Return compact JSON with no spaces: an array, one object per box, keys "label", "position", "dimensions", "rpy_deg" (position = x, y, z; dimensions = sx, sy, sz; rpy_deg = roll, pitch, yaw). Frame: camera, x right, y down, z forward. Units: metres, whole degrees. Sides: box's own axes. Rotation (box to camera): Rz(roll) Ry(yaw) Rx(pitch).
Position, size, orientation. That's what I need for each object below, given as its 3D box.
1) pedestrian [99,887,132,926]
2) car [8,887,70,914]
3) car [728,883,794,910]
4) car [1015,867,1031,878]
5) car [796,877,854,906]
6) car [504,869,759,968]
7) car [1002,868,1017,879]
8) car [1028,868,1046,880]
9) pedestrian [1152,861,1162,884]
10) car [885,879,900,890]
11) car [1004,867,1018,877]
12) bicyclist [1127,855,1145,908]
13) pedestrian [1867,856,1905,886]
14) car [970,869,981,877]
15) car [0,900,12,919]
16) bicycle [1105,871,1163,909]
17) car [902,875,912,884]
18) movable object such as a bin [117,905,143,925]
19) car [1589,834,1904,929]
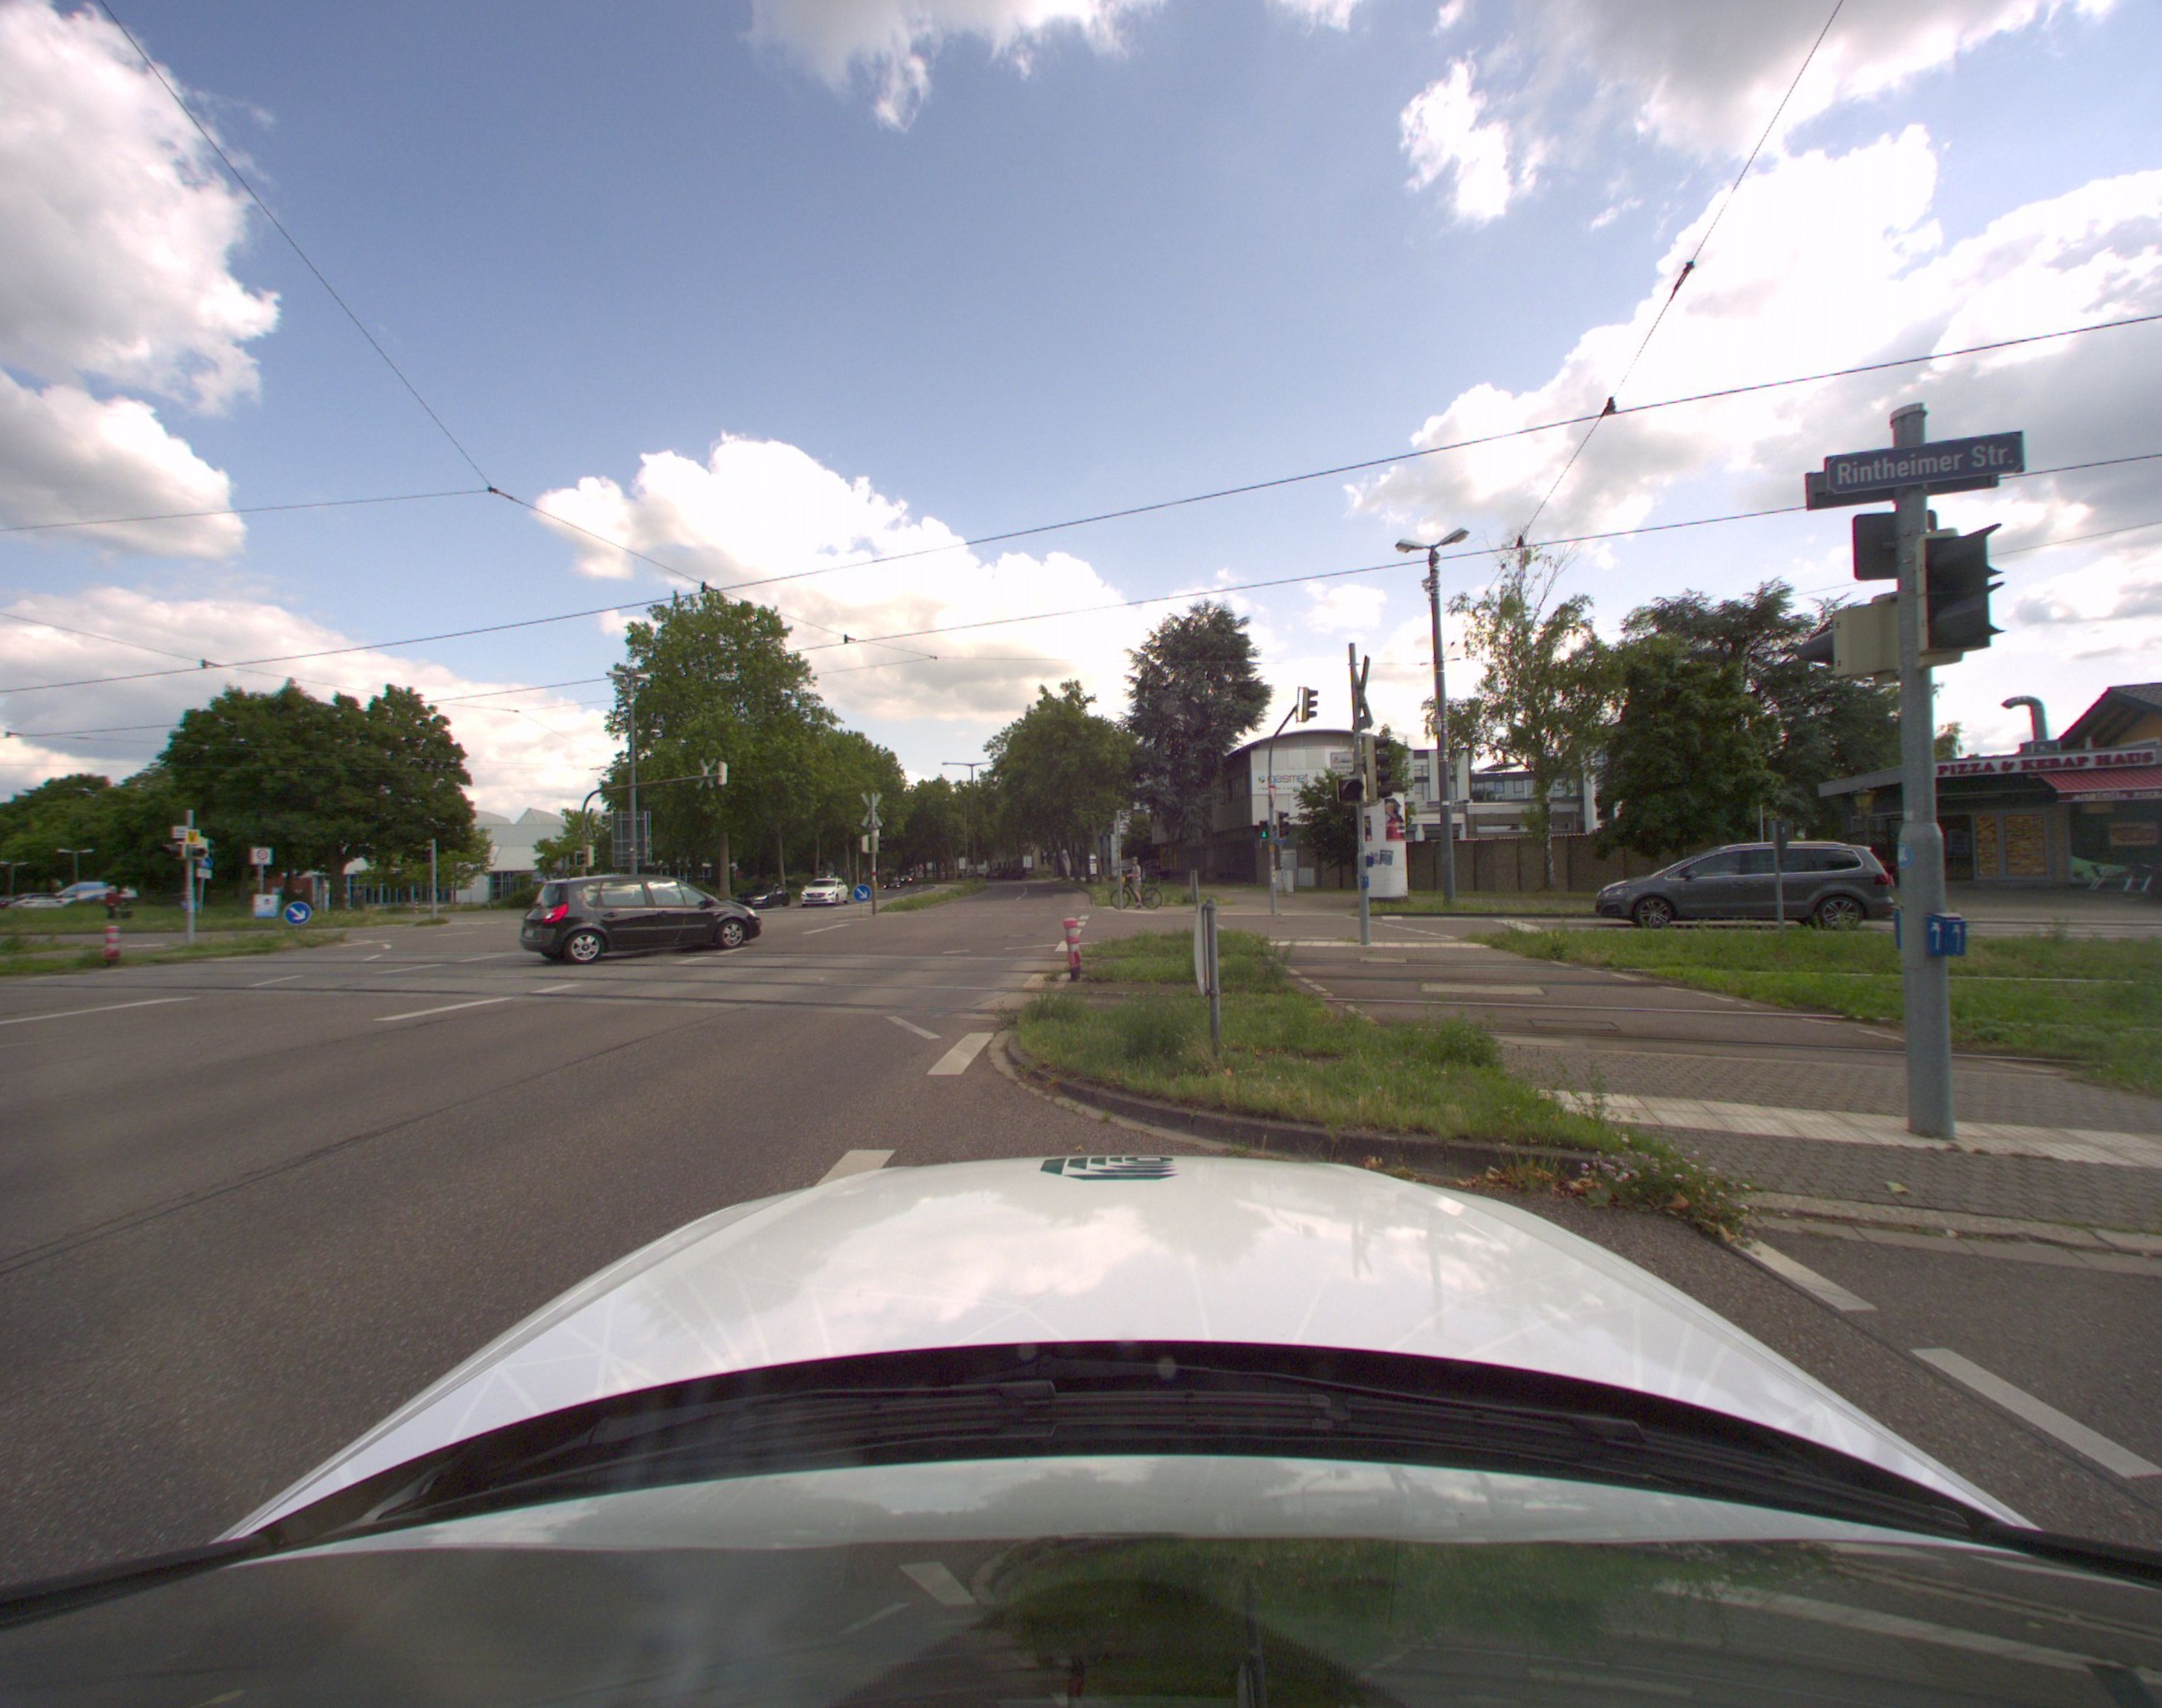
[{"label":"pedestrian","position":[-42.203,2.285,35.611],"dimensions":[0.636,1.644,0.611],"rpy_deg":[-2,1,-8]},{"label":"car","position":[-69.348,3.102,54.185],"dimensions":[4.334,1.640,2.013],"rpy_deg":[-2,-1,31]},{"label":"car","position":[-16.588,2.184,42.409],"dimensions":[1.626,1.192,3.715],"rpy_deg":[-2,-1,7]},{"label":"car","position":[-9.282,2.911,129.444],"dimensions":[1.995,1.574,3.984],"rpy_deg":[-2,1,-12]},{"label":"car","position":[-13.482,1.974,43.153],"dimensions":[1.820,1.364,4.134],"rpy_deg":[-1,-1,-2]},{"label":"car","position":[-8.753,1.156,16.094],"dimensions":[1.714,1.630,4.076],"rpy_deg":[-3,-1,43]},{"label":"car","position":[-12.031,3.250,137.399],"dimensions":[1.995,1.574,3.984],"rpy_deg":[-2,1,-12]},{"label":"car","position":[-6.439,2.847,117.875],"dimensions":[1.995,1.574,3.984],"rpy_deg":[-2,1,-12]},{"label":"pedestrian","position":[5.174,1.254,55.583],"dimensions":[0.618,1.569,0.559],"rpy_deg":[-2,1,-1]},{"label":"car","position":[-22.114,3.573,95.500],"dimensions":[1.637,1.192,3.690],"rpy_deg":[-1,-1,-14]},{"label":"car","position":[-12.727,3.300,148.145],"dimensions":[1.995,1.574,3.984],"rpy_deg":[-2,1,-12]},{"label":"bicyclist","position":[1.916,0.946,28.319],"dimensions":[0.540,1.809,0.542],"rpy_deg":[-2,1,9]},{"label":"pedestrian","position":[26.451,0.548,26.773],"dimensions":[0.718,0.929,0.782],"rpy_deg":[-1,1,32]},{"label":"car","position":[-22.708,4.094,175.873],"dimensions":[1.995,1.574,3.984],"rpy_deg":[-2,1,-12]},{"label":"car","position":[-95.596,4.912,71.273],"dimensions":[4.334,1.640,2.013],"rpy_deg":[-2,-1,31]},{"label":"bicycle","position":[1.857,1.257,28.331],"dimensions":[1.934,1.235,0.542],"rpy_deg":[-2,1,9]},{"label":"car","position":[-29.750,4.373,139.269],"dimensions":[1.658,1.271,3.754],"rpy_deg":[-2,1,-13]},{"label":"movable object such as a bin","position":[-41.695,2.661,35.703],"dimensions":[0.458,0.811,0.577],"rpy_deg":[-2,1,-8]},{"label":"car","position":[13.357,0.576,16.823],"dimensions":[4.680,1.722,2.012],"rpy_deg":[-2,-1,28]}]
